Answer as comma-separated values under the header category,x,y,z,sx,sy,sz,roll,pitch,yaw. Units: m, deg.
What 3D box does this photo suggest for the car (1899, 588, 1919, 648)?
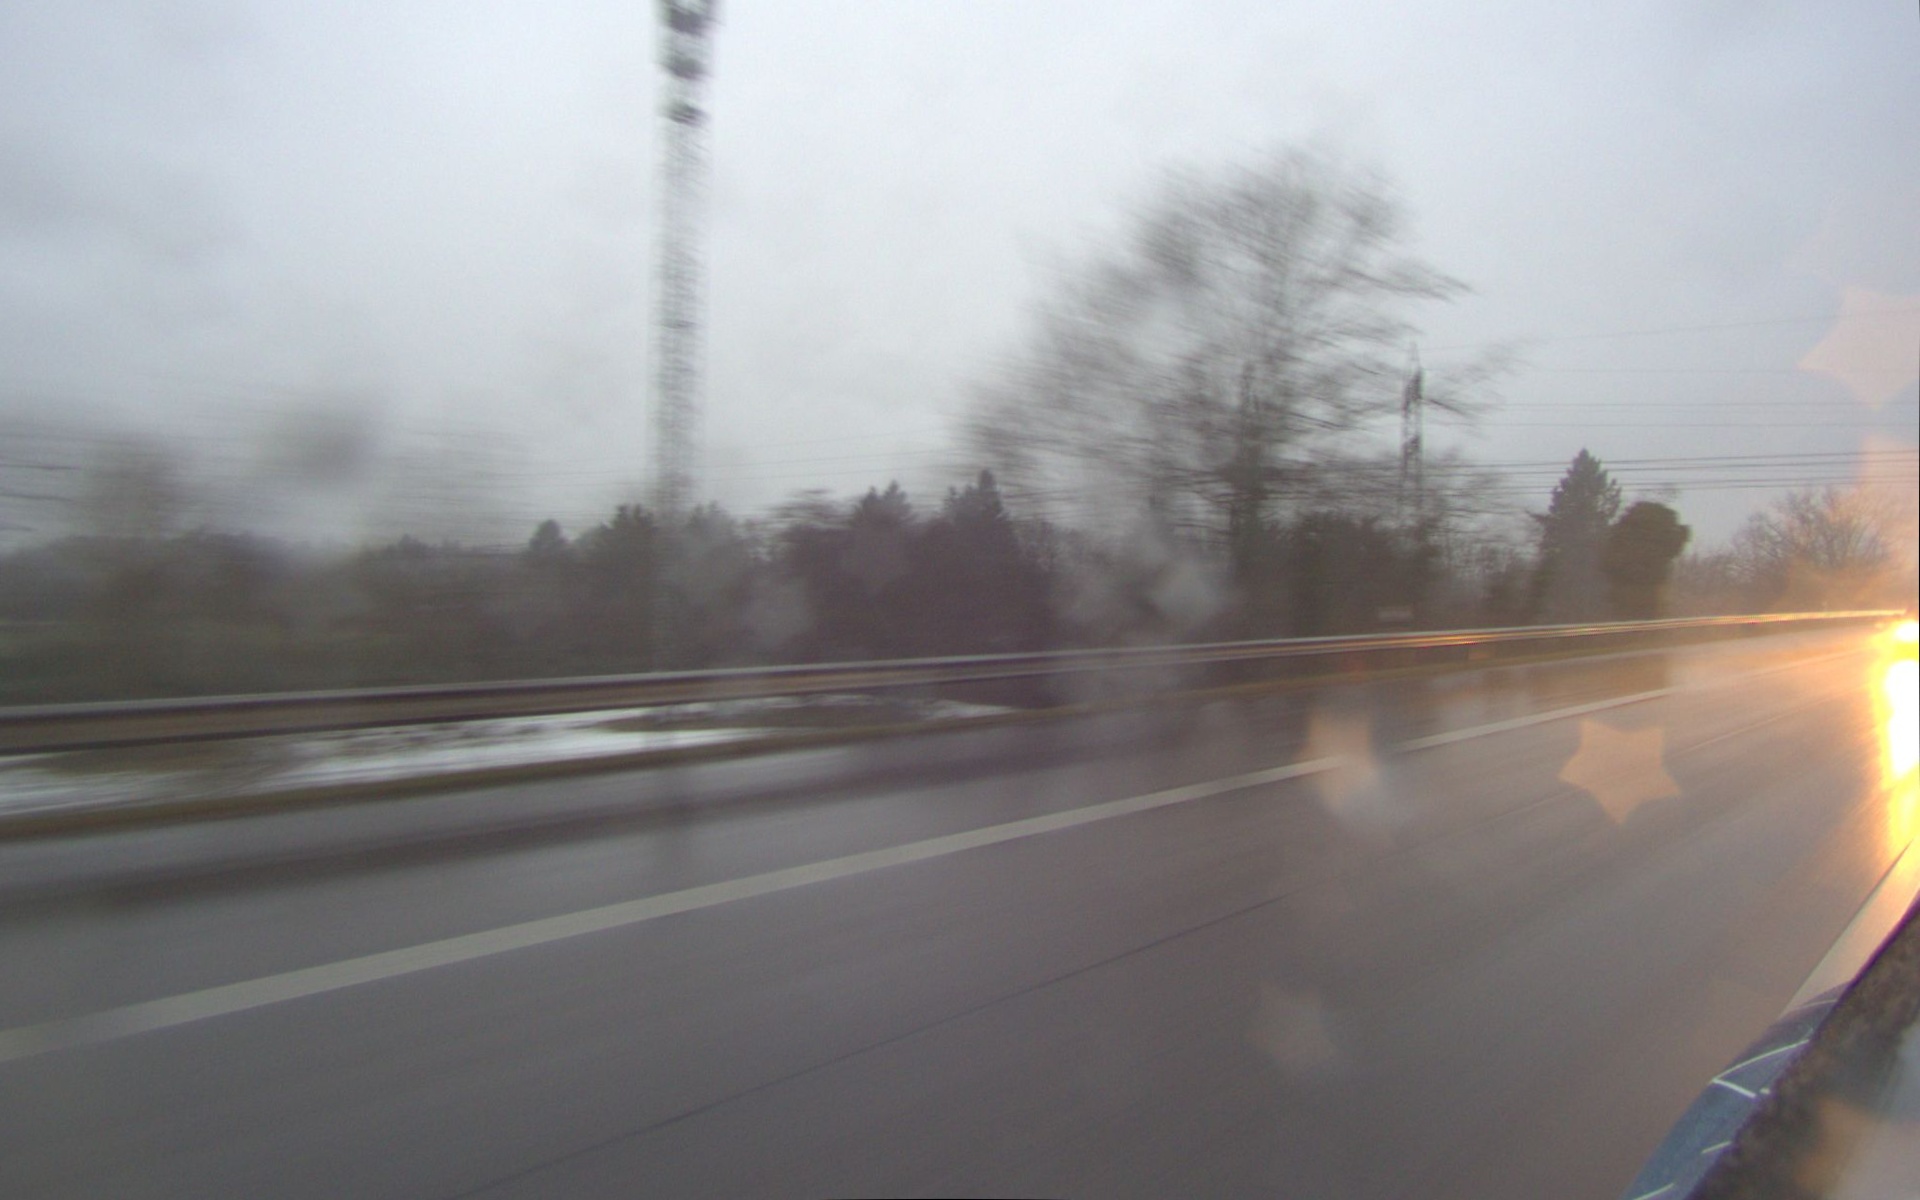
category,x,y,z,sx,sy,sz,roll,pitch,yaw
car,26.092,0.471,26.621,3.930,1.493,1.630,0,1,-41
